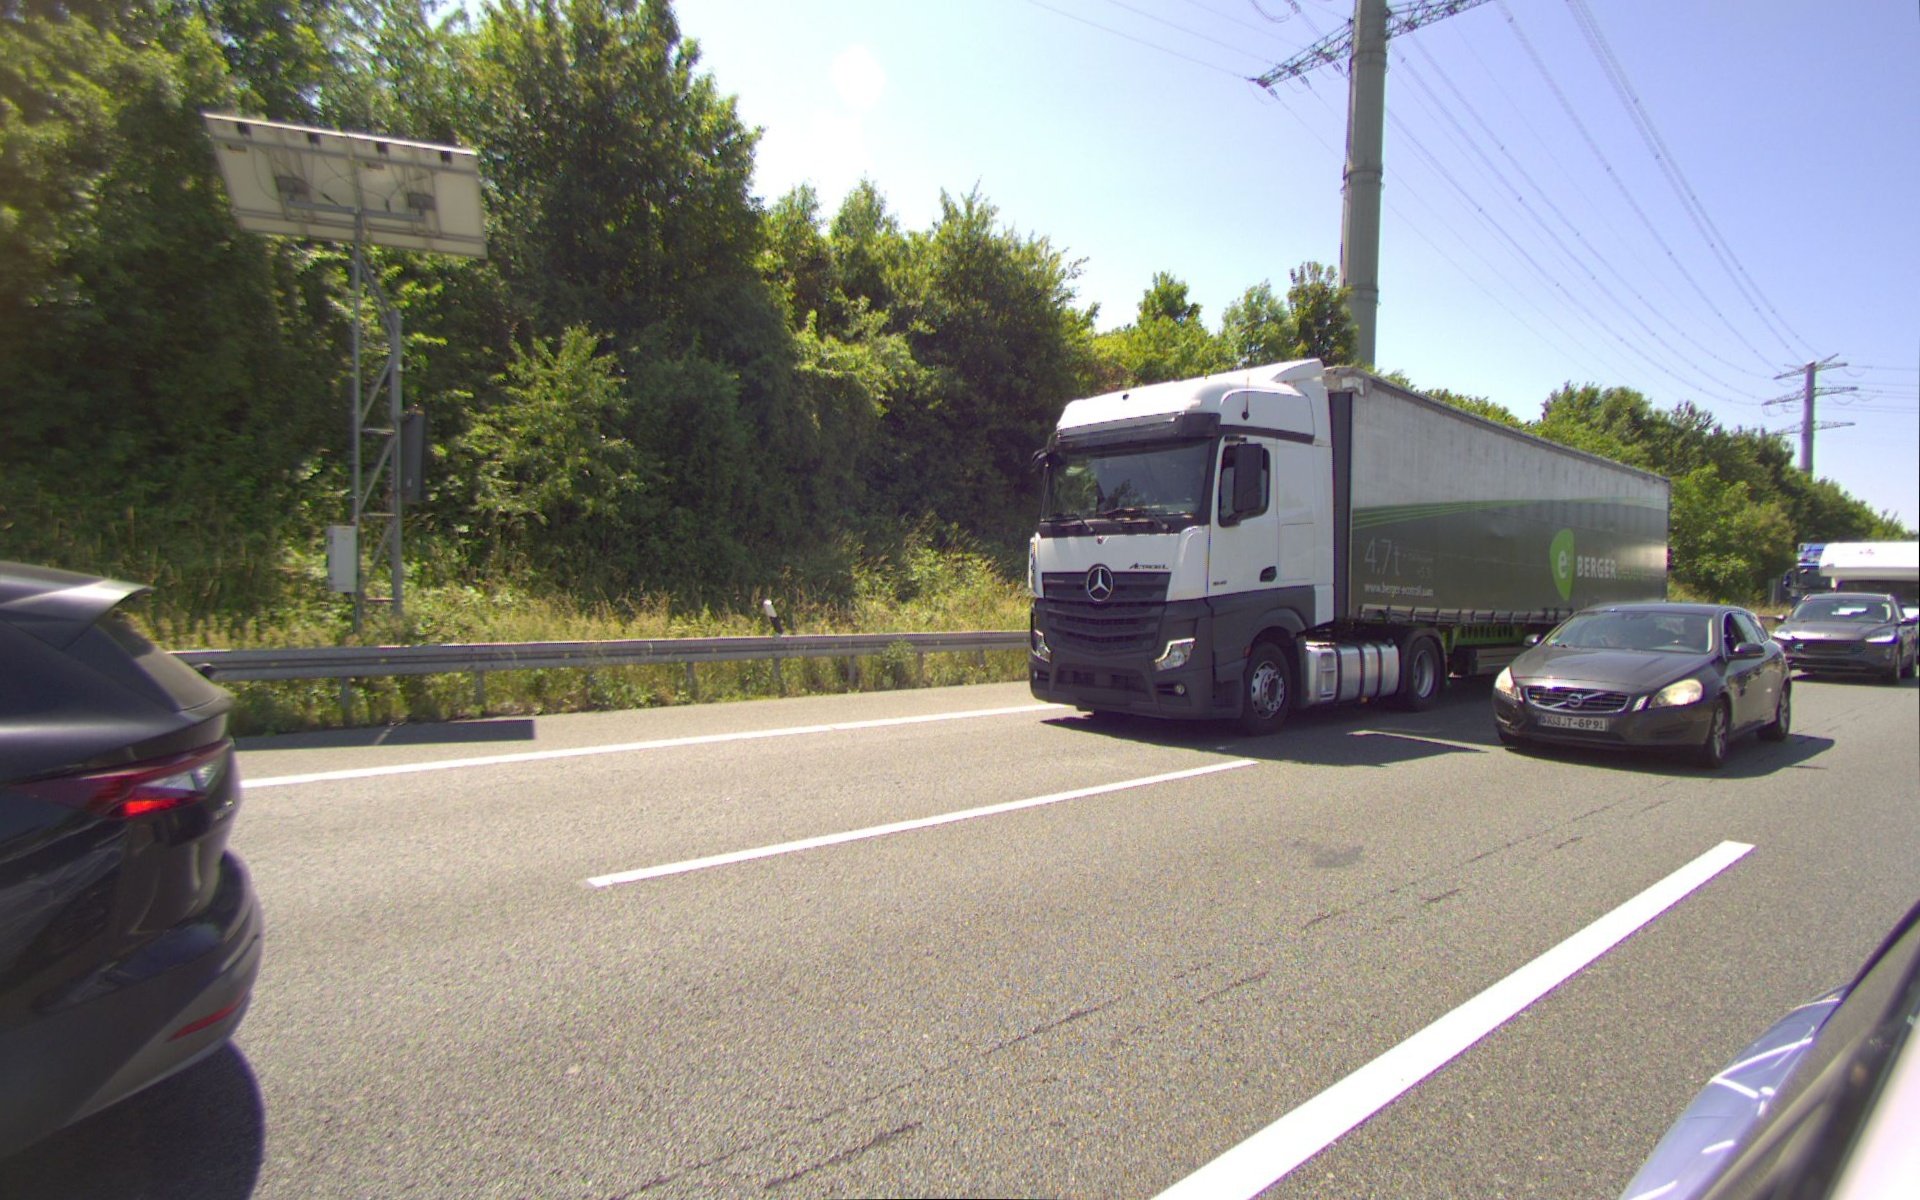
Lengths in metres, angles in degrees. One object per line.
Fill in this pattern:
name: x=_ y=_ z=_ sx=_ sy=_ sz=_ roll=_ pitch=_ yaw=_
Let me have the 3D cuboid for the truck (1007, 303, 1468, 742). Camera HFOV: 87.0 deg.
truck: x=3.569 y=-0.751 z=12.359 sx=5.692 sy=4.098 sz=2.738 roll=0 pitch=0 yaw=-41

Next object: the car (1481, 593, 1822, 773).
car: x=7.155 y=0.657 z=10.287 sx=4.431 sy=1.437 sz=1.798 roll=-1 pitch=0 yaw=-41

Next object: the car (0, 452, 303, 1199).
car: x=-3.719 y=0.551 z=1.562 sx=4.353 sy=1.676 sz=1.703 roll=-1 pitch=0 yaw=-42

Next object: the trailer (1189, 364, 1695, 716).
trailer: x=8.930 y=-0.754 z=17.093 sx=12.882 sy=4.098 sz=2.788 roll=-1 pitch=0 yaw=-41

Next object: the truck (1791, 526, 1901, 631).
truck: x=37.896 y=-0.872 z=43.245 sx=5.537 sy=4.197 sz=2.790 roll=0 pitch=0 yaw=-41

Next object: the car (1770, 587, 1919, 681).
car: x=17.301 y=0.565 z=19.517 sx=4.146 sy=1.631 sz=1.892 roll=0 pitch=0 yaw=-41

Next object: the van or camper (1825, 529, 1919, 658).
van or camper: x=25.518 y=-0.187 z=27.188 sx=7.499 sy=3.082 sz=2.373 roll=0 pitch=0 yaw=-41
